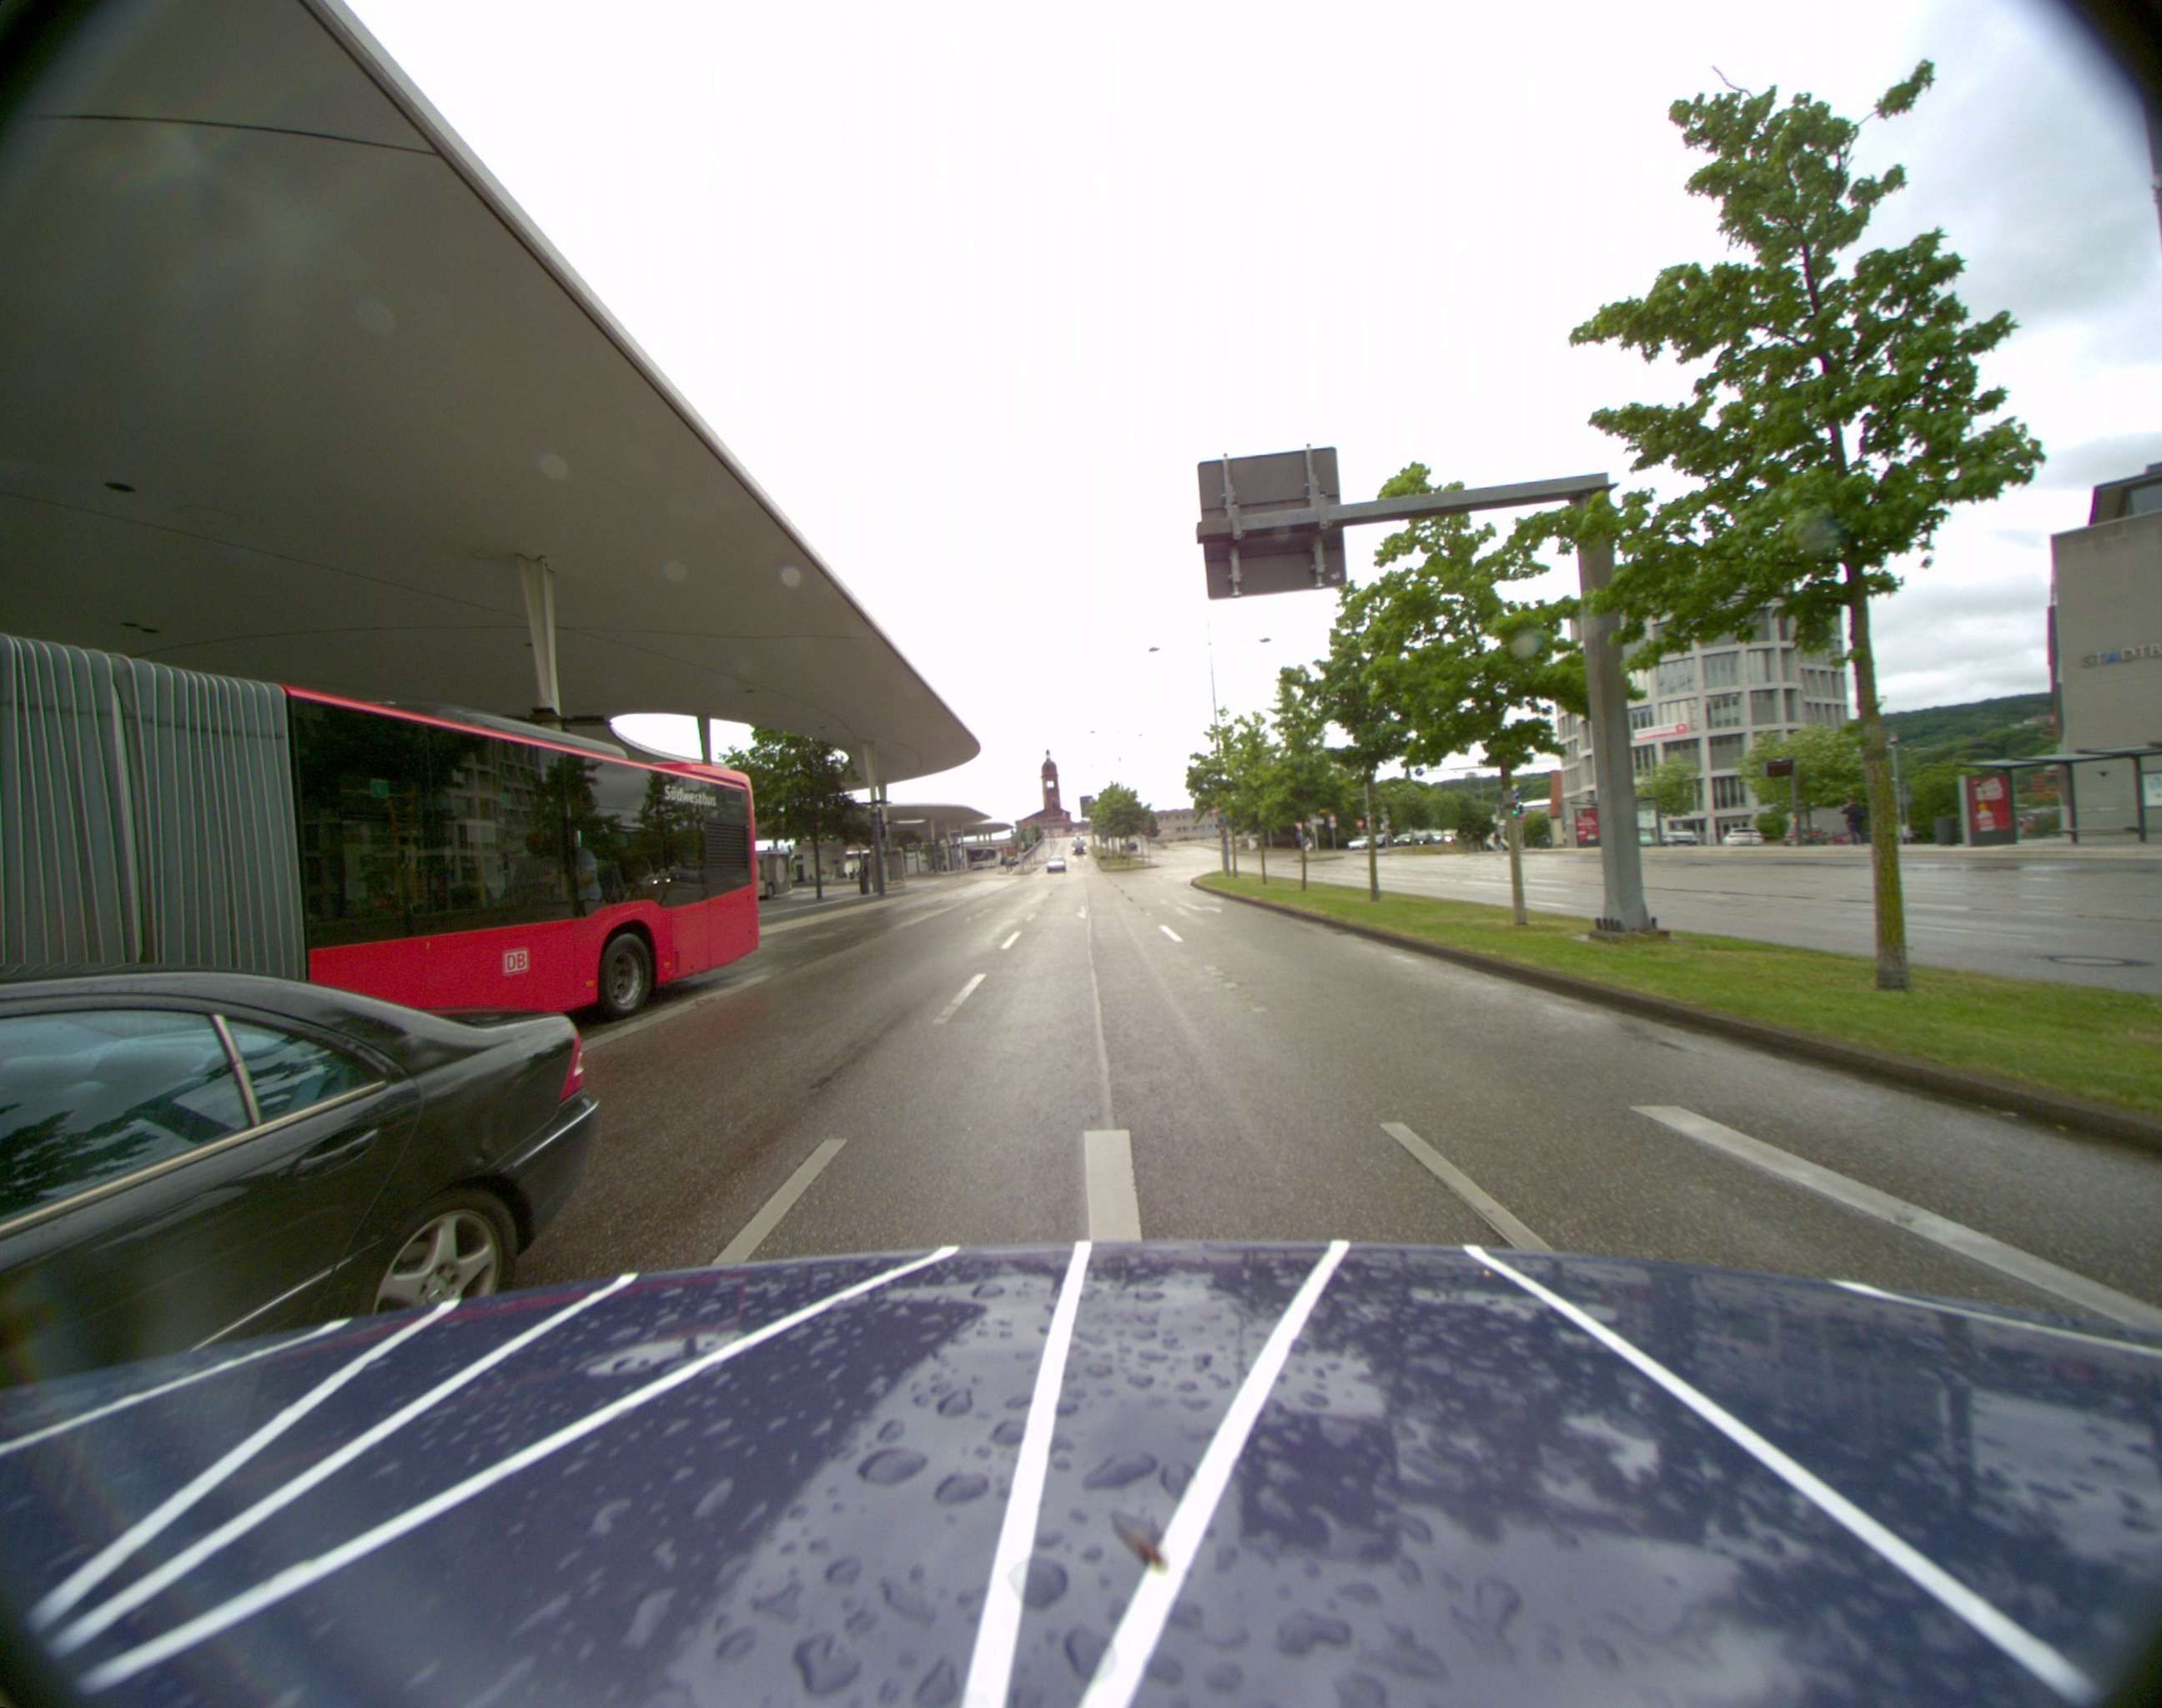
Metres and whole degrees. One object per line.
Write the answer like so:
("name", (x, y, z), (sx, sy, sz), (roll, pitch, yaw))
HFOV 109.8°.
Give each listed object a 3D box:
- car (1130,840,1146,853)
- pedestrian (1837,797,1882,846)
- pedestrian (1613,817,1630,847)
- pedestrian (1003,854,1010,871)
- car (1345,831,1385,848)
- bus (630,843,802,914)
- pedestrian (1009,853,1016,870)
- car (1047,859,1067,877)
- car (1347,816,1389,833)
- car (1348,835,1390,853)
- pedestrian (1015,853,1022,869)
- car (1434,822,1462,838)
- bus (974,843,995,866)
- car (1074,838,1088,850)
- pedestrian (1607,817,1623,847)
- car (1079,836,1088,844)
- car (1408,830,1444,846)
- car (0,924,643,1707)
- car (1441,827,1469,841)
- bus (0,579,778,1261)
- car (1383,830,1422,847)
("car", (8.459, -1.083, 113.417), (1.998, 1.765, 4.000), (-3, 0, 1))
("pedestrian", (29.140, -1.217, 28.448), (0.787, 1.750, 0.972), (-3, 1, -28))
("pedestrian", (30.050, -1.225, 42.240), (0.520, 1.625, 0.536), (-2, 1, 1))
("pedestrian", (-7.305, 0.854, 74.574), (0.576, 1.614, 0.588), (-3, 1, 1))
("car", (32.277, -1.656, 86.312), (4.925, 1.702, 2.190), (-3, 1, -42))
("bus", (-19.847, 1.155, 42.742), (3.003, 3.088, 12.355), (-7, 0, 2))
("pedestrian", (-6.741, 0.707, 74.579), (0.557, 1.614, 0.552), (-3, 1, 1))
("car", (-2.187, 1.247, 69.487), (1.627, 1.450, 3.735), (-3, 0, 1))
("car", (40.325, -4.127, 106.770), (2.315, 2.002, 5.021), (-3, 1, -41))
("car", (30.752, -1.068, 81.113), (4.925, 1.702, 2.190), (-3, 1, -43))
("pedestrian", (-6.133, 0.680, 74.620), (0.557, 1.614, 0.552), (-3, 1, 1))
("car", (47.221, -3.081, 97.670), (1.994, 2.002, 4.008), (-2, 0, 44))
("bus", (-14.313, 0.095, 113.256), (2.675, 3.111, 9.712), (-3, 0, -5))
("car", (0.011, -1.465, 109.997), (1.704, 1.656, 3.998), (-3, 1, -2))
("pedestrian", (29.501, -1.198, 42.006), (0.504, 1.625, 0.502), (-2, 1, 1))
("car", (0.524, -2.843, 154.223), (1.704, 1.656, 3.999), (-2, 1, 1))
("car", (42.257, -1.948, 92.975), (4.925, 1.702, 2.190), (-3, 1, -43))
("car", (-2.828, 1.130, 0.965), (1.750, 1.471, 4.435), (-5, 1, 2))
("car", (50.848, -2.726, 103.319), (2.193, 1.702, 4.920), (-3, 0, 11))
("bus", (-6.152, 0.354, 7.591), (2.750, 3.155, 8.120), (-3, 0, 1))
("car", (36.849, -1.772, 87.090), (4.925, 1.702, 2.190), (-3, 1, -43))
